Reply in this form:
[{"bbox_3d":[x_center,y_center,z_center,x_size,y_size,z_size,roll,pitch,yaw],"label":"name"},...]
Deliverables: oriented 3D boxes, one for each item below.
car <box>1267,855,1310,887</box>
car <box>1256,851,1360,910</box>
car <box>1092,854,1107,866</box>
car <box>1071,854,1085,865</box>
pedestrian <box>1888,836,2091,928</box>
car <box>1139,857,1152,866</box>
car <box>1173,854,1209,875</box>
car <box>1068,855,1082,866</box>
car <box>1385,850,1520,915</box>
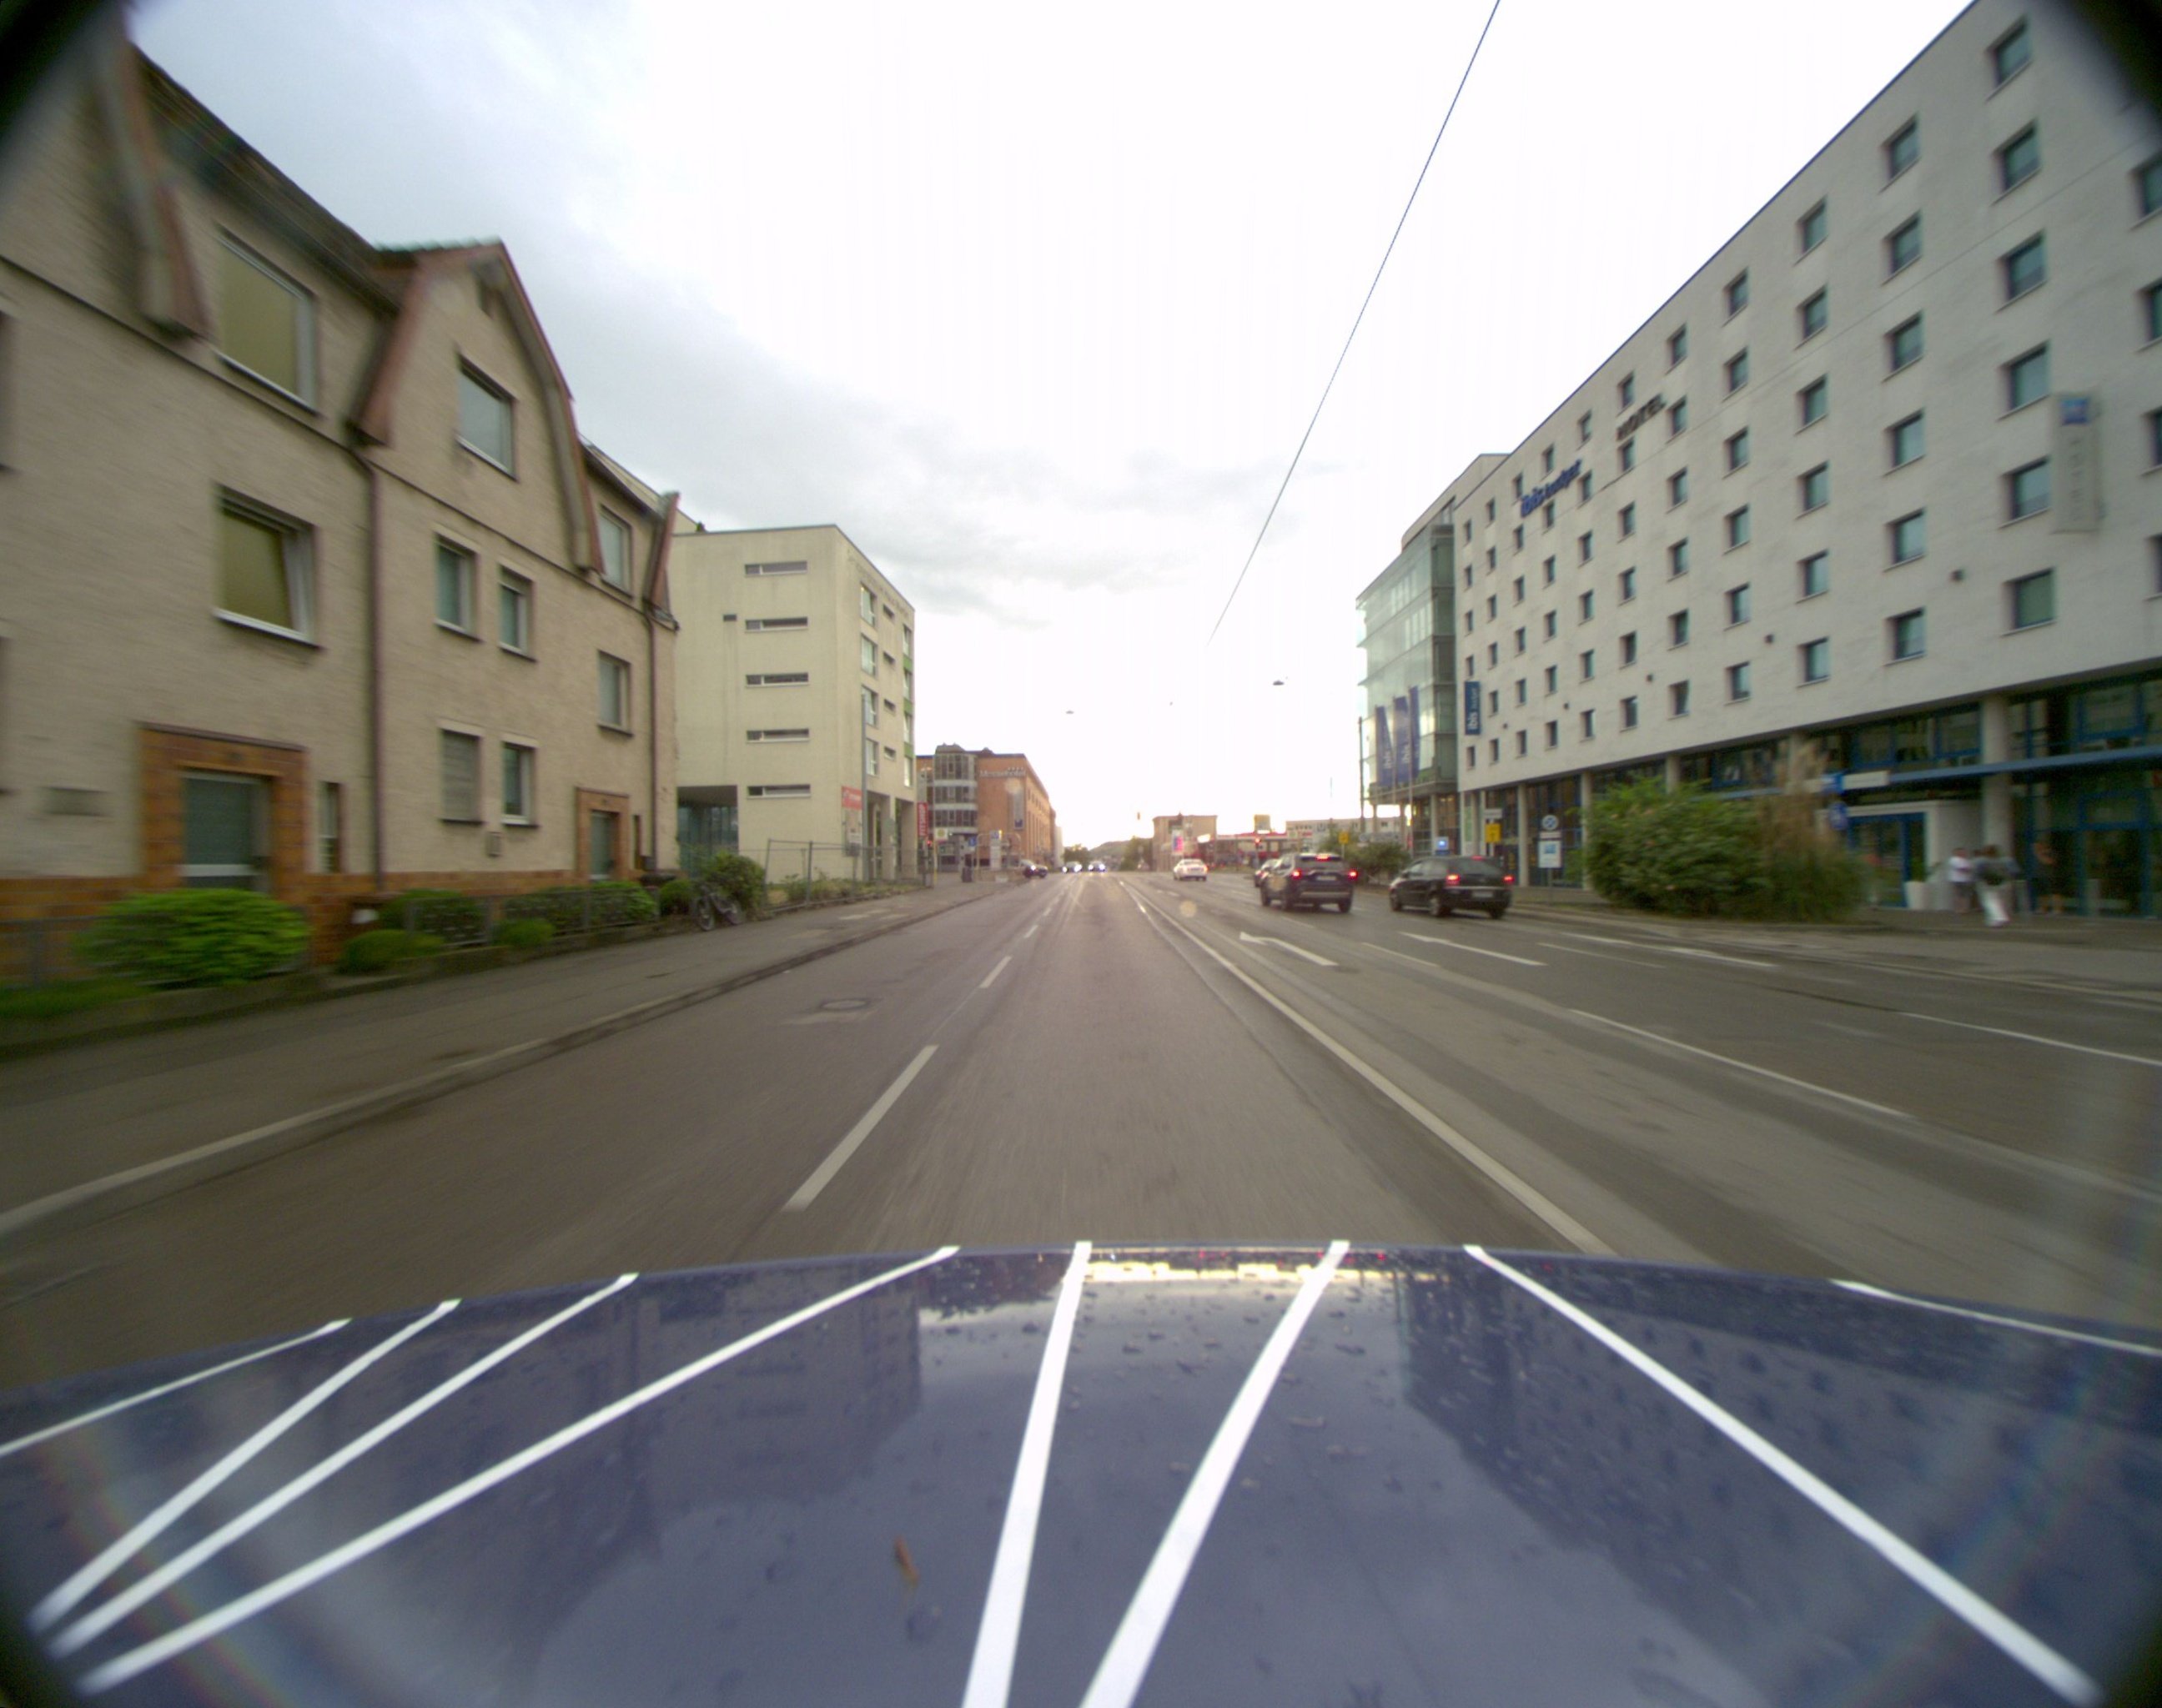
[{"bbox_3d":[10.603,0.843,39.067,1.736,1.468,4.702,1,1,11],"label":"car"},{"bbox_3d":[6.631,0.753,22.708,1.760,1.546,4.451,1,-1,0],"label":"car"},{"bbox_3d":[2.438,0.745,103.069,1.964,1.516,4.262,-2,0,1],"label":"car"},{"bbox_3d":[-0.450,0.772,109.318,1.696,1.392,4.089,-2,0,3],"label":"car"},{"bbox_3d":[18.006,0.558,15.185,1.996,1.710,1.698,-2,-1,20],"label":"pedestrian"},{"bbox_3d":[12.223,1.435,144.132,1.913,1.622,4.209,-1,0,-3],"label":"car"},{"bbox_3d":[7.674,0.710,53.233,1.822,1.379,4.963,-1,0,0],"label":"car"},{"bbox_3d":[-0.811,0.867,102.072,1.649,1.313,4.000,-2,0,1],"label":"car"},{"bbox_3d":[9.908,0.724,20.616,1.712,1.557,4.034,1,0,1],"label":"car"}]
